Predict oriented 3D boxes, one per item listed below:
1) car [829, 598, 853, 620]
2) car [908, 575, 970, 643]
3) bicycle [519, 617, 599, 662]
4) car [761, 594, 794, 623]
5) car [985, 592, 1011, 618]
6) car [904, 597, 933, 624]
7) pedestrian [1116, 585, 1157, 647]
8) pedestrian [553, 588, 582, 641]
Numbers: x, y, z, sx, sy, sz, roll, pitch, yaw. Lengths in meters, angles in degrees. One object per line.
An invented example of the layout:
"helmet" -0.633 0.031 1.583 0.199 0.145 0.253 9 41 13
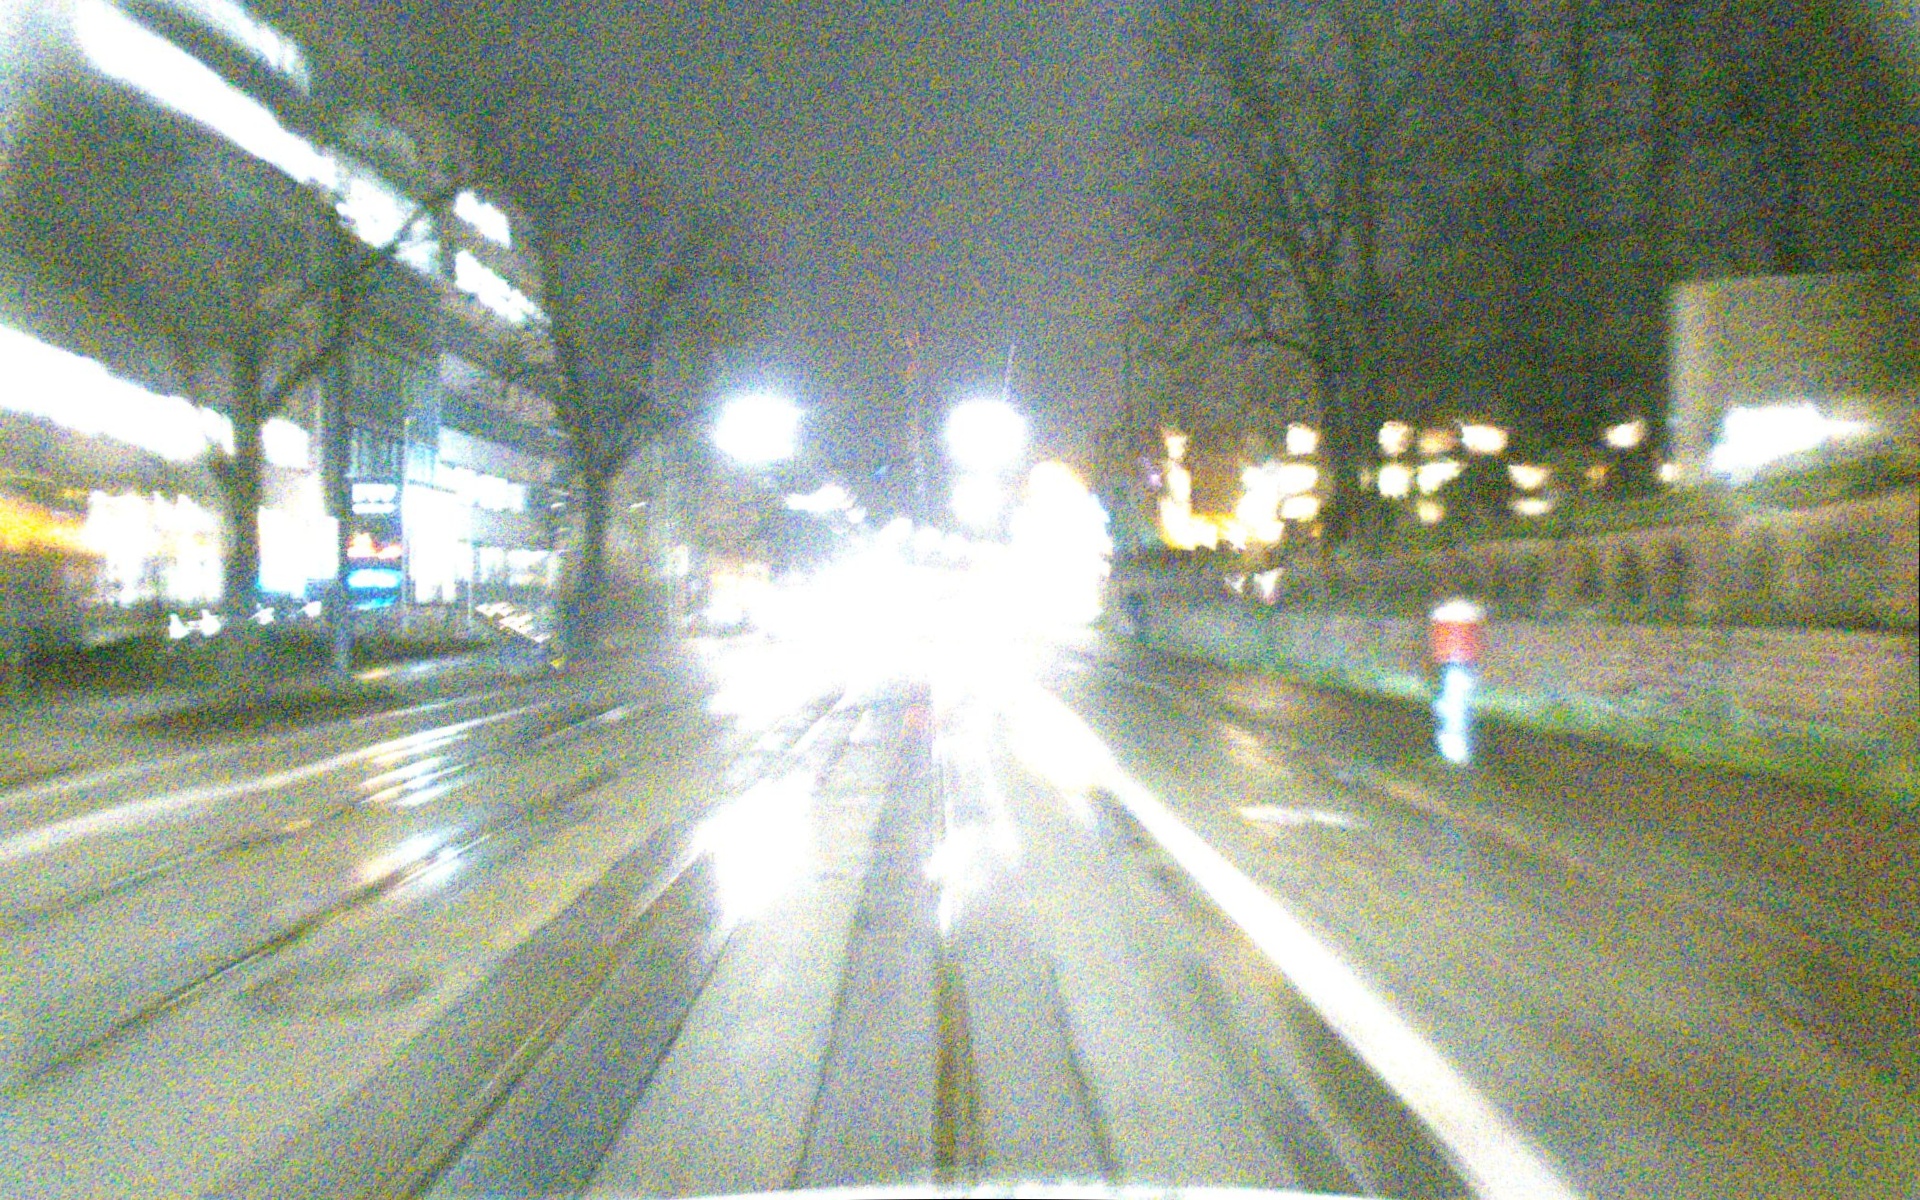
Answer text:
"car" -9.785 0.763 136.193 1.954 1.754 4.073 0 0 -4
"car" -0.814 0.332 60.522 2.199 2.402 4.392 0 0 -2
"bicycle" -9.883 0.973 40.782 1.816 1.096 0.627 0 0 -1
"car" -13.044 0.613 118.398 1.953 2.049 4.000 0 0 0
"car" 3.129 0.429 135.504 1.953 2.049 3.999 0 0 -1
"car" -2.865 0.730 114.650 1.953 1.847 3.999 0 0 -2
"pedestrian" 5.022 0.449 47.099 0.921 1.693 0.993 -3 0 -5
"pedestrian" -12.948 0.475 54.563 0.770 1.716 0.882 0 0 -1
